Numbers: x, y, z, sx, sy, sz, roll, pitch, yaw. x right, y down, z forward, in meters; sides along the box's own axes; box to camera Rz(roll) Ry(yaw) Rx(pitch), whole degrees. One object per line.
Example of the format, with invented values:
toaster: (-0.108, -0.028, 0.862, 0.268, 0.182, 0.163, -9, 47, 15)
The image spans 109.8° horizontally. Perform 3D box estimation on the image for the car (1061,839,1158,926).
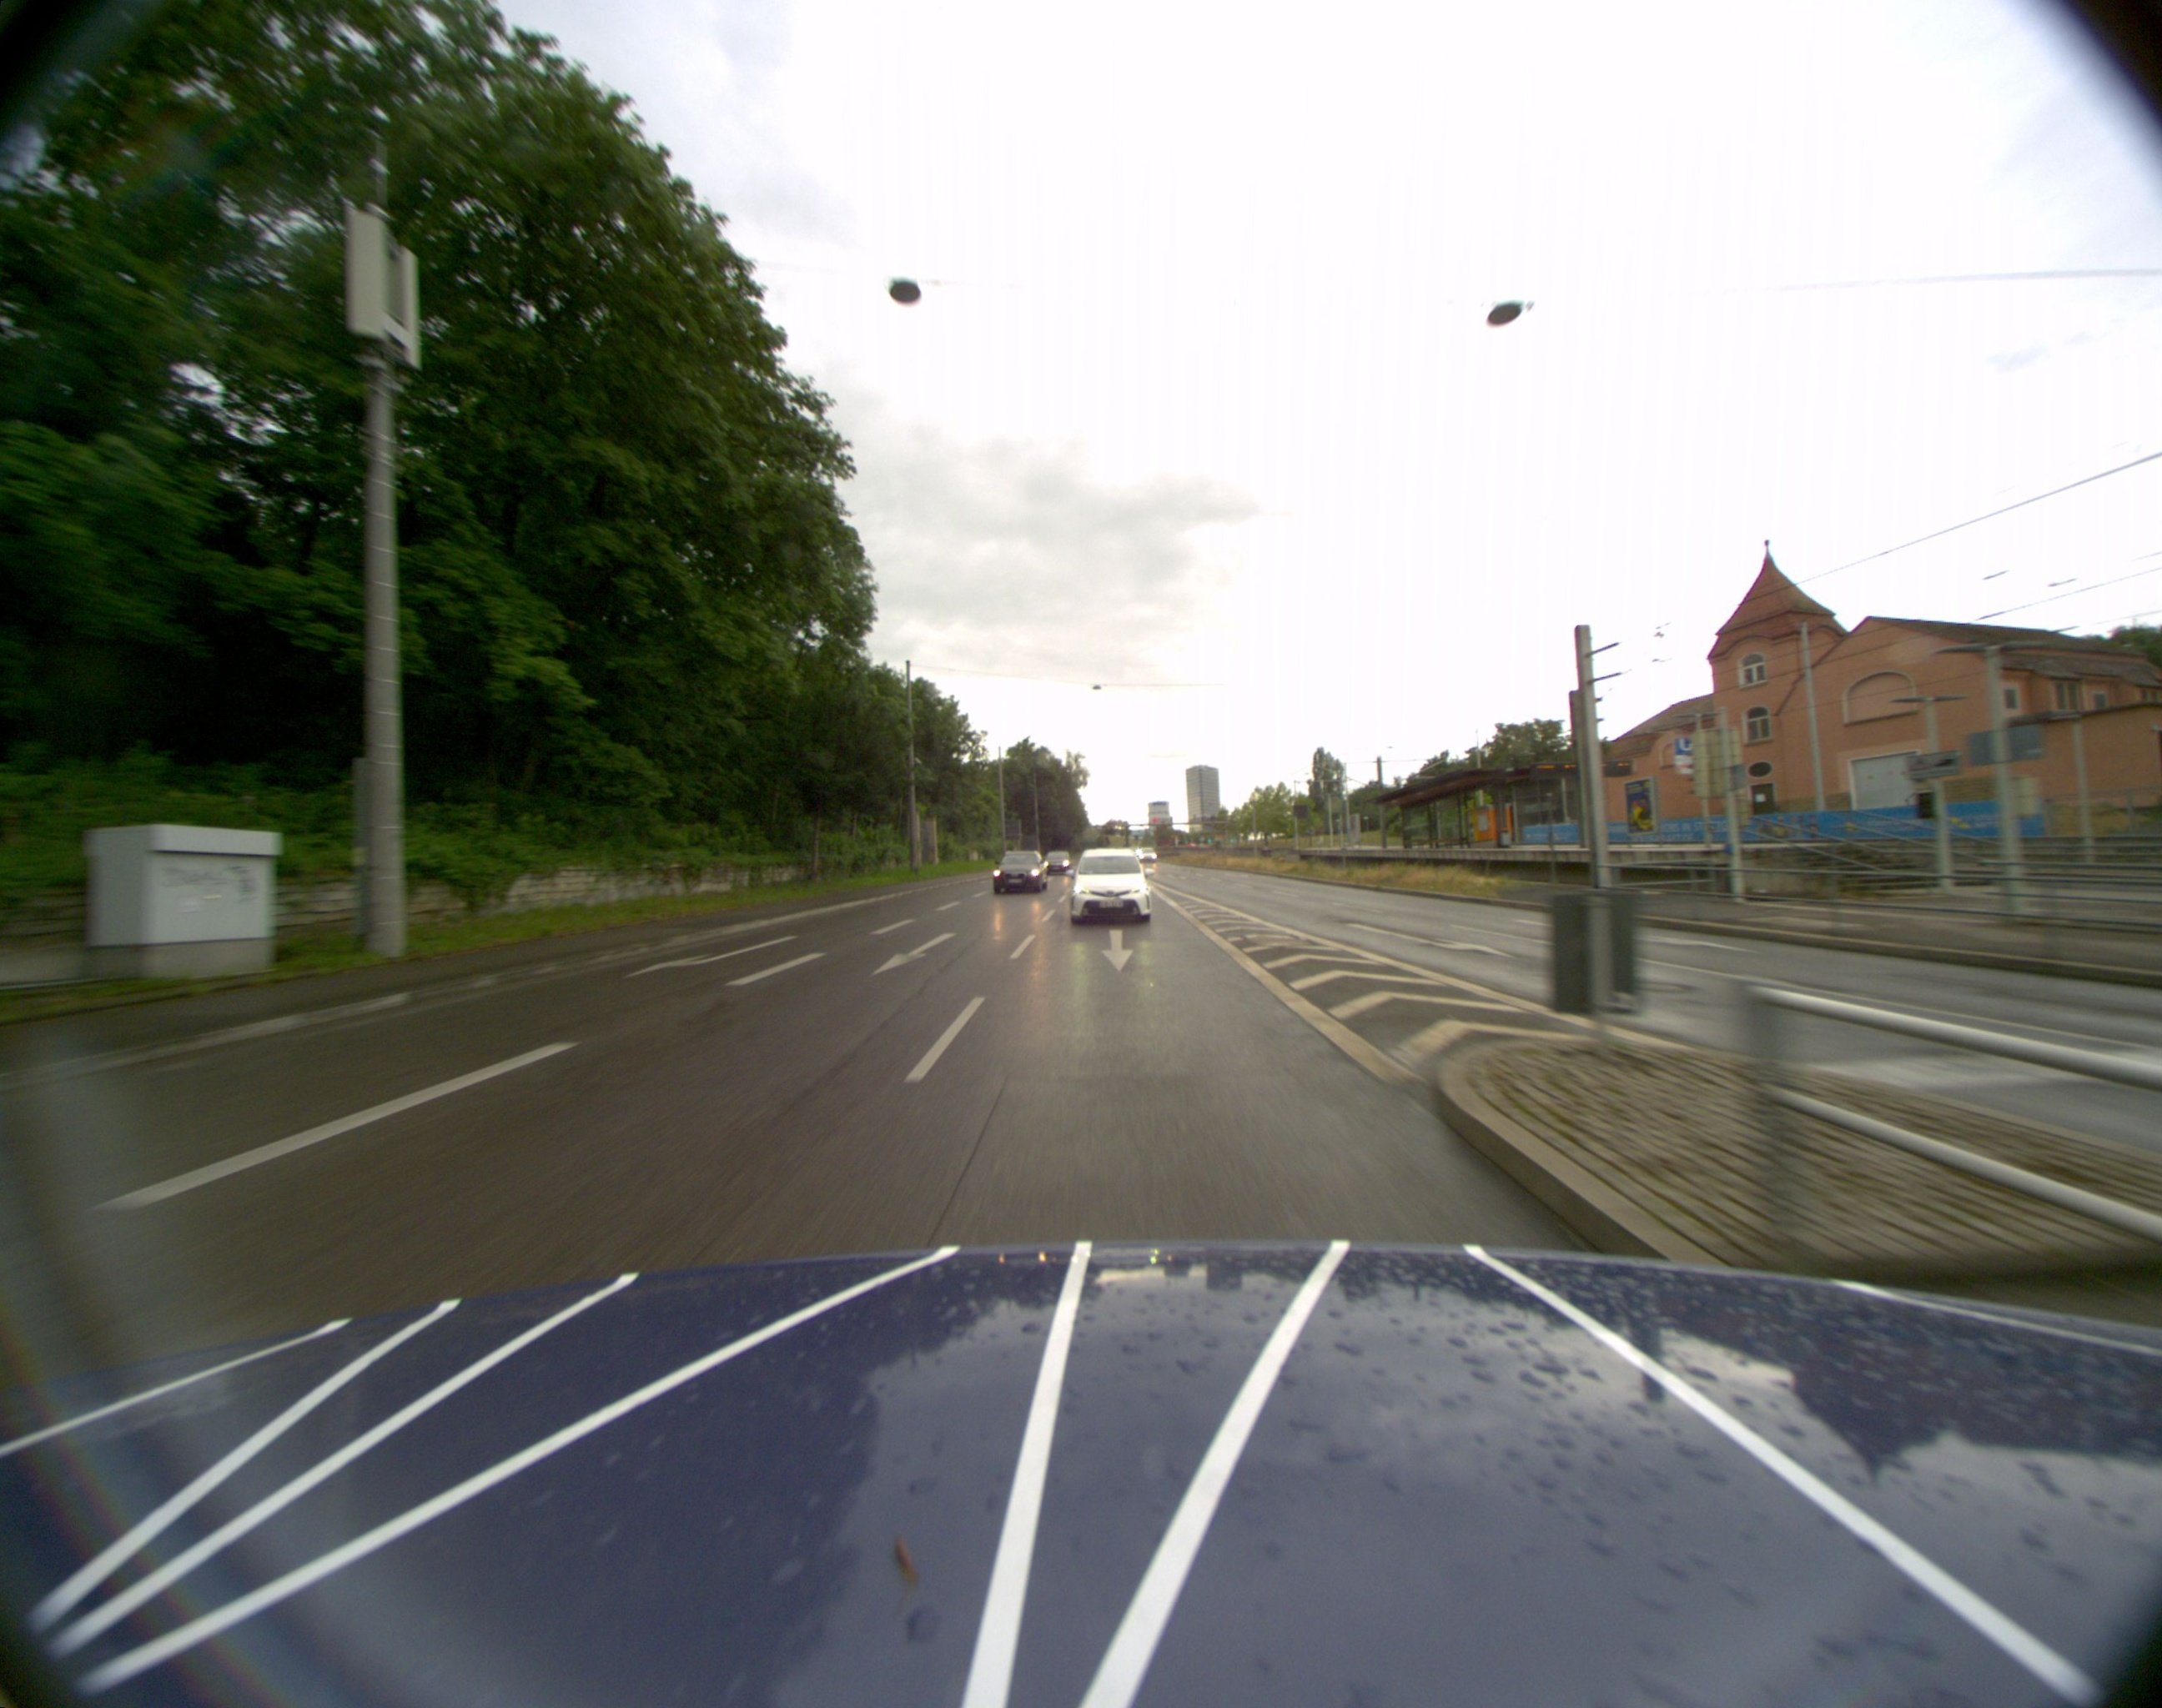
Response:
car: (0.544, 0.557, 17.681, 1.856, 1.741, 3.998, -2, 1, -3)

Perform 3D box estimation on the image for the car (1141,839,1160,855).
car: (7.045, -0.743, 77.156, 1.738, 1.578, 4.000, -2, 1, 3)

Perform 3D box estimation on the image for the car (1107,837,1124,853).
car: (3.719, -0.990, 81.681, 1.738, 1.578, 4.000, -2, 1, 3)

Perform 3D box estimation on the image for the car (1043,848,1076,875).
car: (-1.371, 0.454, 48.975, 1.738, 1.578, 4.000, -2, 1, 3)

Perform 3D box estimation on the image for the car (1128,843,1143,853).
car: (8.613, -0.972, 120.098, 1.802, 1.463, 3.999, -2, 0, -3)

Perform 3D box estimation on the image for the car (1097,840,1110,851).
car: (3.330, -1.236, 113.156, 1.802, 1.463, 3.999, -1, 0, -1)

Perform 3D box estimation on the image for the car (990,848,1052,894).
car: (-2.286, 0.613, 30.014, 1.855, 1.578, 4.000, -2, 1, 3)

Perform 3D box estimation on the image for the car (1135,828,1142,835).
car: (15.076, -5.871, 199.337, 1.801, 1.463, 4.001, -2, 0, 5)
